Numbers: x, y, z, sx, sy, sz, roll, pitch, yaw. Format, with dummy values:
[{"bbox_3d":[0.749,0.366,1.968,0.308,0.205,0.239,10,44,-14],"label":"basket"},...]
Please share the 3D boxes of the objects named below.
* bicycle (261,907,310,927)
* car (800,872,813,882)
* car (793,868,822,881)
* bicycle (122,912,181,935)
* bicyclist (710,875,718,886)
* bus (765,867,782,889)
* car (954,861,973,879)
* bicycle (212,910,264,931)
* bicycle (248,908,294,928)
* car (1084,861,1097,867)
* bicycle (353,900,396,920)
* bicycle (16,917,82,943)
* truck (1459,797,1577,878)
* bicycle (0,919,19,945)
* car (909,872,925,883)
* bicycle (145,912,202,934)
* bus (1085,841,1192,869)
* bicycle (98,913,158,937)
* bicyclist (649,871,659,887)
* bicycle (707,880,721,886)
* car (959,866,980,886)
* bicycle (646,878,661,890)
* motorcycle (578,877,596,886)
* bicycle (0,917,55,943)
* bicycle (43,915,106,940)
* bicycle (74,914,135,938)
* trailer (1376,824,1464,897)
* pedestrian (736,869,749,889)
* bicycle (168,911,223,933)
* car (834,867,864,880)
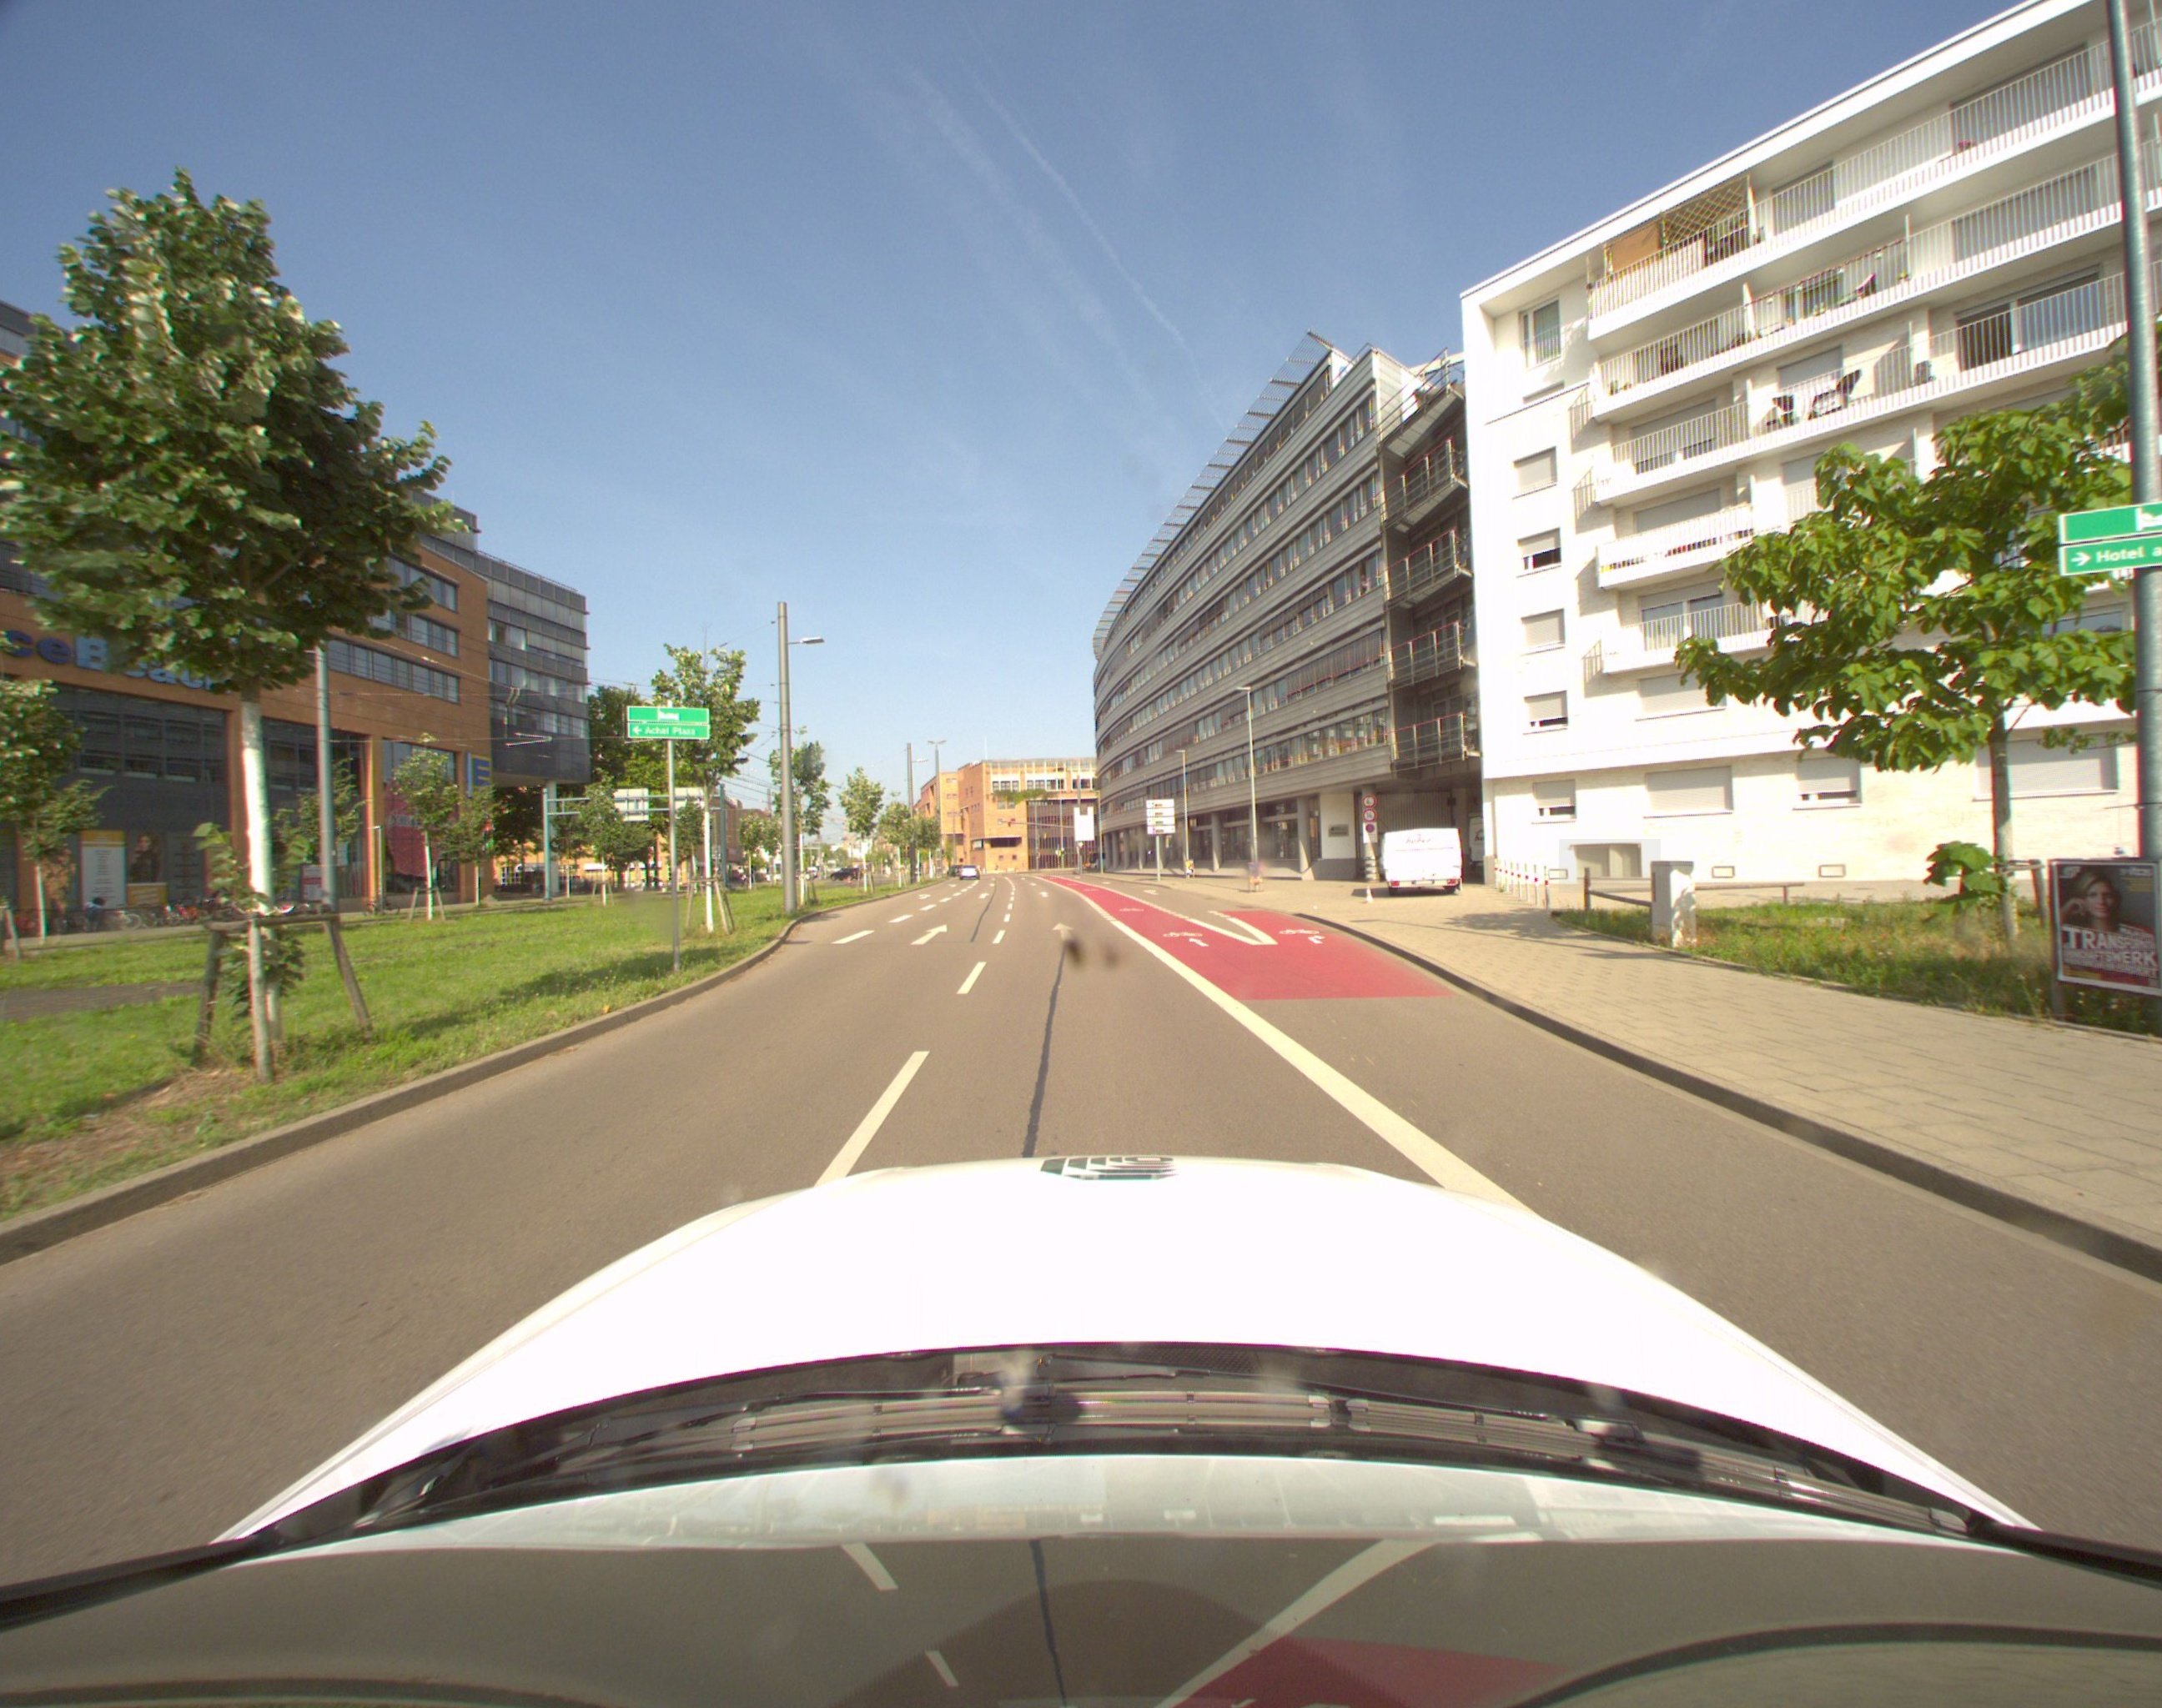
[{"bbox_3d":[-41.256,3.270,42.237,2.039,0.921,0.574,-2,-1,4],"label":"bicycle"},{"bbox_3d":[-45.160,3.853,133.967,1.737,1.542,3.420,-2,-2,-23],"label":"car"},{"bbox_3d":[-39.587,2.974,117.875,3.606,1.624,1.864,-2,-1,-5],"label":"car"},{"bbox_3d":[-41.542,3.100,36.403,2.039,0.921,0.574,-2,-1,4],"label":"bicycle"},{"bbox_3d":[-58.787,4.308,130.454,0.991,1.696,0.665,-1,-2,-22],"label":"bicyclist"},{"bbox_3d":[-59.782,4.731,158.662,2.755,3.921,12.134,-2,-2,-19],"label":"bus"},{"bbox_3d":[-14.370,2.019,99.786,1.991,2.014,4.232,-2,-2,-6],"label":"car"},{"bbox_3d":[-41.247,3.257,39.854,2.039,0.921,0.574,-2,-1,4],"label":"bicycle"},{"bbox_3d":[-41.272,3.245,41.500,2.039,0.921,0.381,-2,-1,4],"label":"bicycle"},{"bbox_3d":[1.492,1.592,131.204,1.950,0.958,1.090,0,-3,-8],"label":"car"},{"bbox_3d":[-36.141,2.864,41.664,1.667,0.907,0.711,-2,-1,6],"label":"bicycle"},{"bbox_3d":[-41.699,3.060,32.923,2.039,0.921,0.574,-2,-1,4],"label":"bicycle"},{"bbox_3d":[19.824,-0.807,36.785,6.180,3.097,1.978,-6,0,-36],"label":"truck"},{"bbox_3d":[-41.771,3.001,31.005,2.039,0.921,0.574,-2,-1,4],"label":"bicycle"},{"bbox_3d":[-31.352,4.535,155.400,2.004,2.014,3.965,-1,-2,-26],"label":"car"},{"bbox_3d":[-41.545,3.151,37.294,2.039,0.921,0.574,-2,-1,4],"label":"bicycle"},{"bbox_3d":[9.571,0.163,136.026,17.596,3.811,2.857,-2,-2,-8],"label":"bus"},{"bbox_3d":[-41.589,3.105,35.543,2.039,0.921,0.574,-2,-1,4],"label":"bicycle"},{"bbox_3d":[-48.378,2.866,92.297,0.955,1.747,0.671,-4,-3,35],"label":"bicyclist"},{"bbox_3d":[-58.774,4.670,130.428,1.968,0.970,0.417,-2,-2,-23],"label":"bicycle"},{"bbox_3d":[-10.486,2.055,76.728,1.703,1.755,3.882,-2,-2,-6],"label":"car"},{"bbox_3d":[-48.456,3.420,92.340,2.257,1.206,0.554,-4,-3,35],"label":"bicycle"},{"bbox_3d":[-55.493,3.110,91.498,1.693,0.995,0.282,-2,0,-15],"label":"motorcycle"},{"bbox_3d":[-41.705,3.015,32.051,2.039,0.921,0.574,-2,-1,4],"label":"bicycle"},{"bbox_3d":[-41.711,3.030,33.755,2.039,0.921,0.574,-2,-1,4],"label":"bicycle"},{"bbox_3d":[-41.575,3.073,34.680,2.039,0.921,0.574,-2,-1,4],"label":"bicycle"},{"bbox_3d":[11.279,0.191,27.443,2.369,2.151,5.980,-2,0,20],"label":"trailer"},{"bbox_3d":[-35.948,2.657,86.474,1.159,2.014,0.771,-2,-2,-20],"label":"pedestrian"},{"bbox_3d":[-41.530,3.180,38.195,2.039,0.921,0.574,-2,-1,4],"label":"bicycle"},{"bbox_3d":[-32.074,2.677,112.410,3.948,1.678,2.013,-4,-3,37],"label":"car"}]
